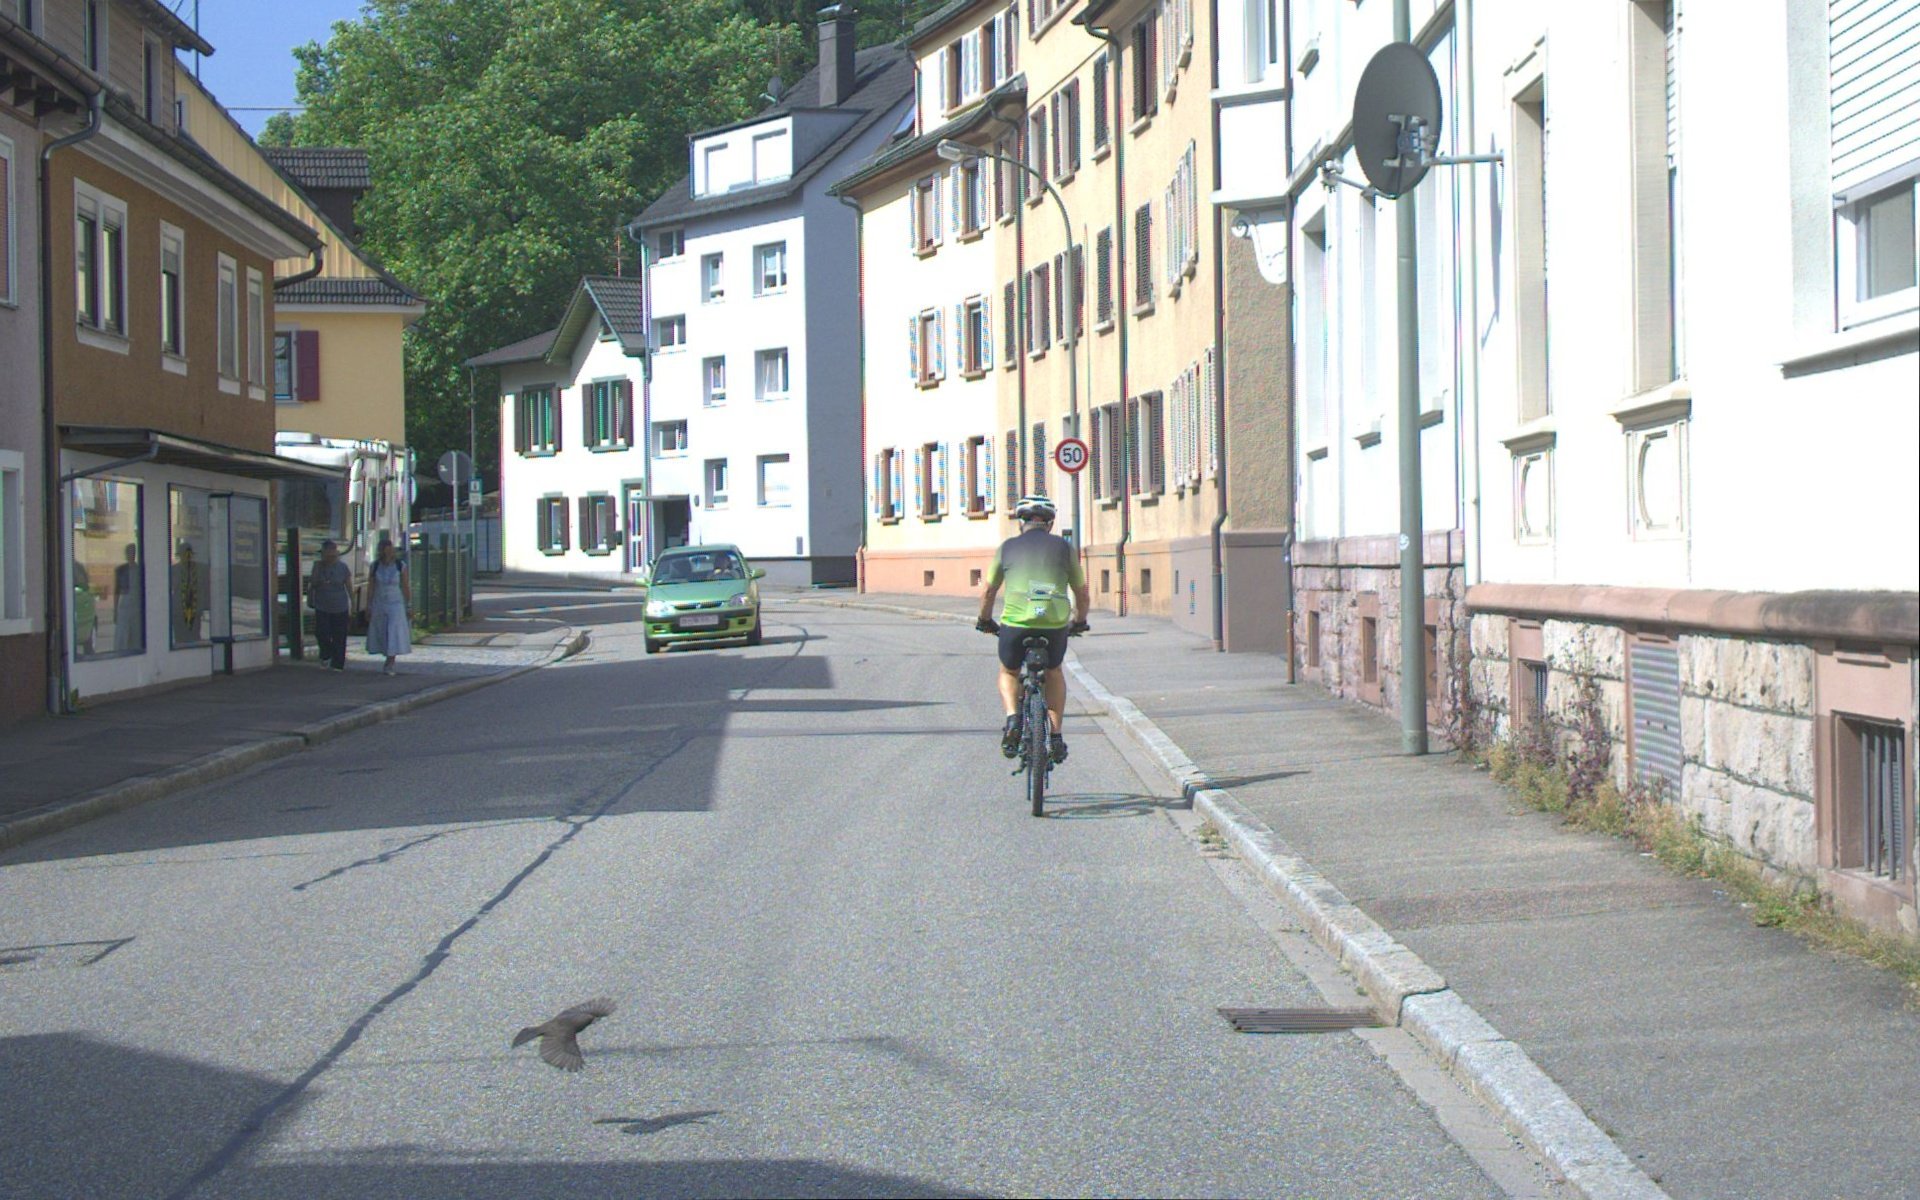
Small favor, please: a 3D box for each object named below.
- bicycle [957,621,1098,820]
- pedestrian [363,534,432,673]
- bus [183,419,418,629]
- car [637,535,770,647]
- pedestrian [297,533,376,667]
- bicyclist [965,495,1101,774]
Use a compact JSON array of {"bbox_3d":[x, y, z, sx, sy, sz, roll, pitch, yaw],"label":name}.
[{"bbox_3d":[0.366,0.659,19.351,0.698,1.032,1.471,0,1,-3],"label":"bicycle"},{"bbox_3d":[-6.716,0.033,41.084,0.639,1.621,0.777,3,1,-1],"label":"pedestrian"},{"bbox_3d":[-10.974,-1.274,58.017,2.820,3.217,9.037,1,1,-4],"label":"bus"},{"bbox_3d":[-3.673,-0.163,49.660,1.596,1.459,3.660,-4,1,-1],"label":"car"},{"bbox_3d":[-7.472,-0.009,41.222,0.735,1.559,0.824,3,1,-1],"label":"pedestrian"},{"bbox_3d":[0.403,0.185,19.294,0.685,1.526,0.716,-1,1,-3],"label":"bicyclist"}]
